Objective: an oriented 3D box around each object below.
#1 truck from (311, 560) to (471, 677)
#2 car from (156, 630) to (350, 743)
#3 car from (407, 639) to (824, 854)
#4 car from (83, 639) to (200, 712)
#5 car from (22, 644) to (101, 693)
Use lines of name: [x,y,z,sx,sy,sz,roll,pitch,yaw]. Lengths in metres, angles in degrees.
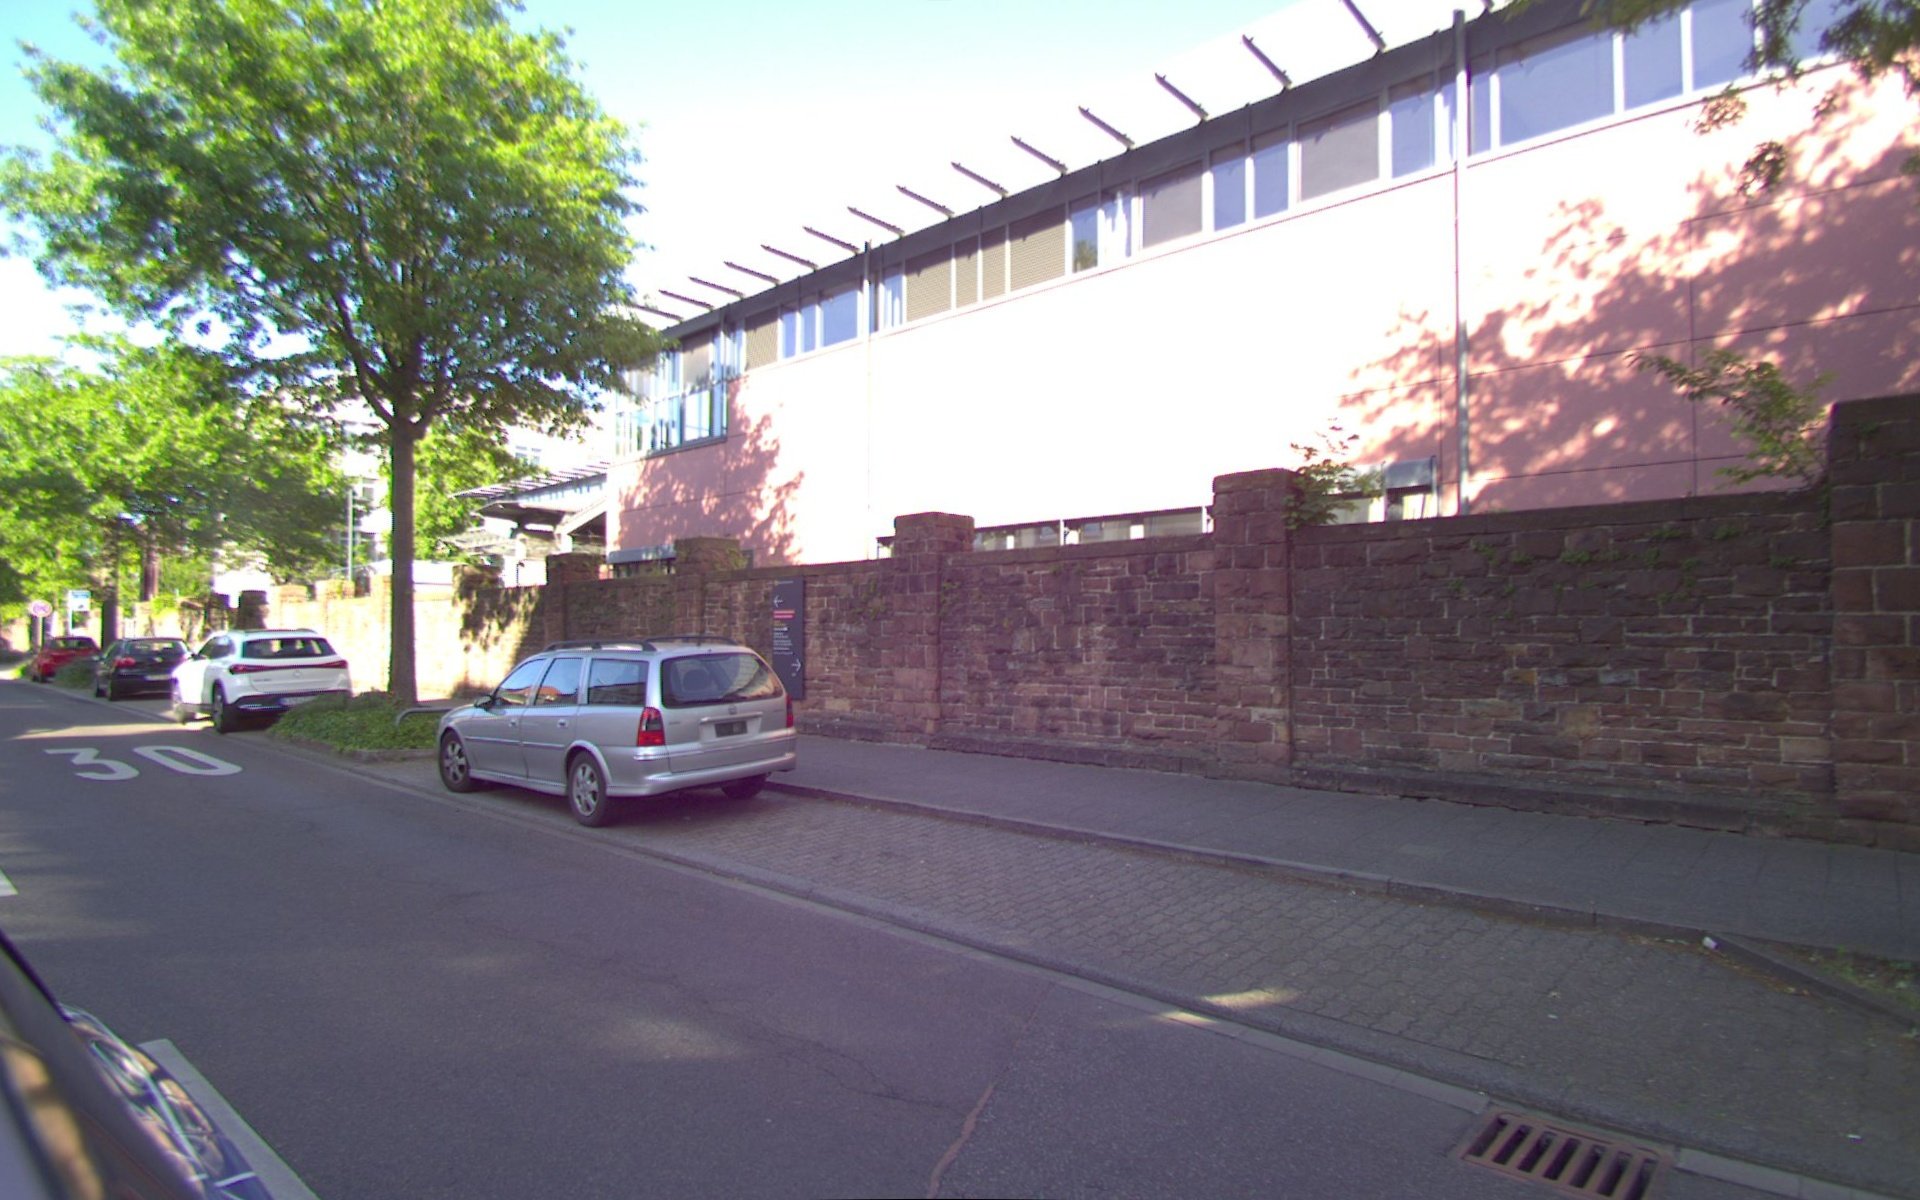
truck: [-20.318,0.692,35.913,7.426,3.739,2.703,-2,-1,42]
car: [-12.150,1.382,17.291,4.348,1.696,1.702,-2,-3,41]
car: [-3.395,1.145,9.436,4.477,1.487,1.708,-2,-1,42]
car: [-20.099,1.785,24.800,4.107,1.604,1.718,-3,-3,44]
car: [-29.907,2.235,33.649,3.708,1.470,1.591,-2,-1,43]
